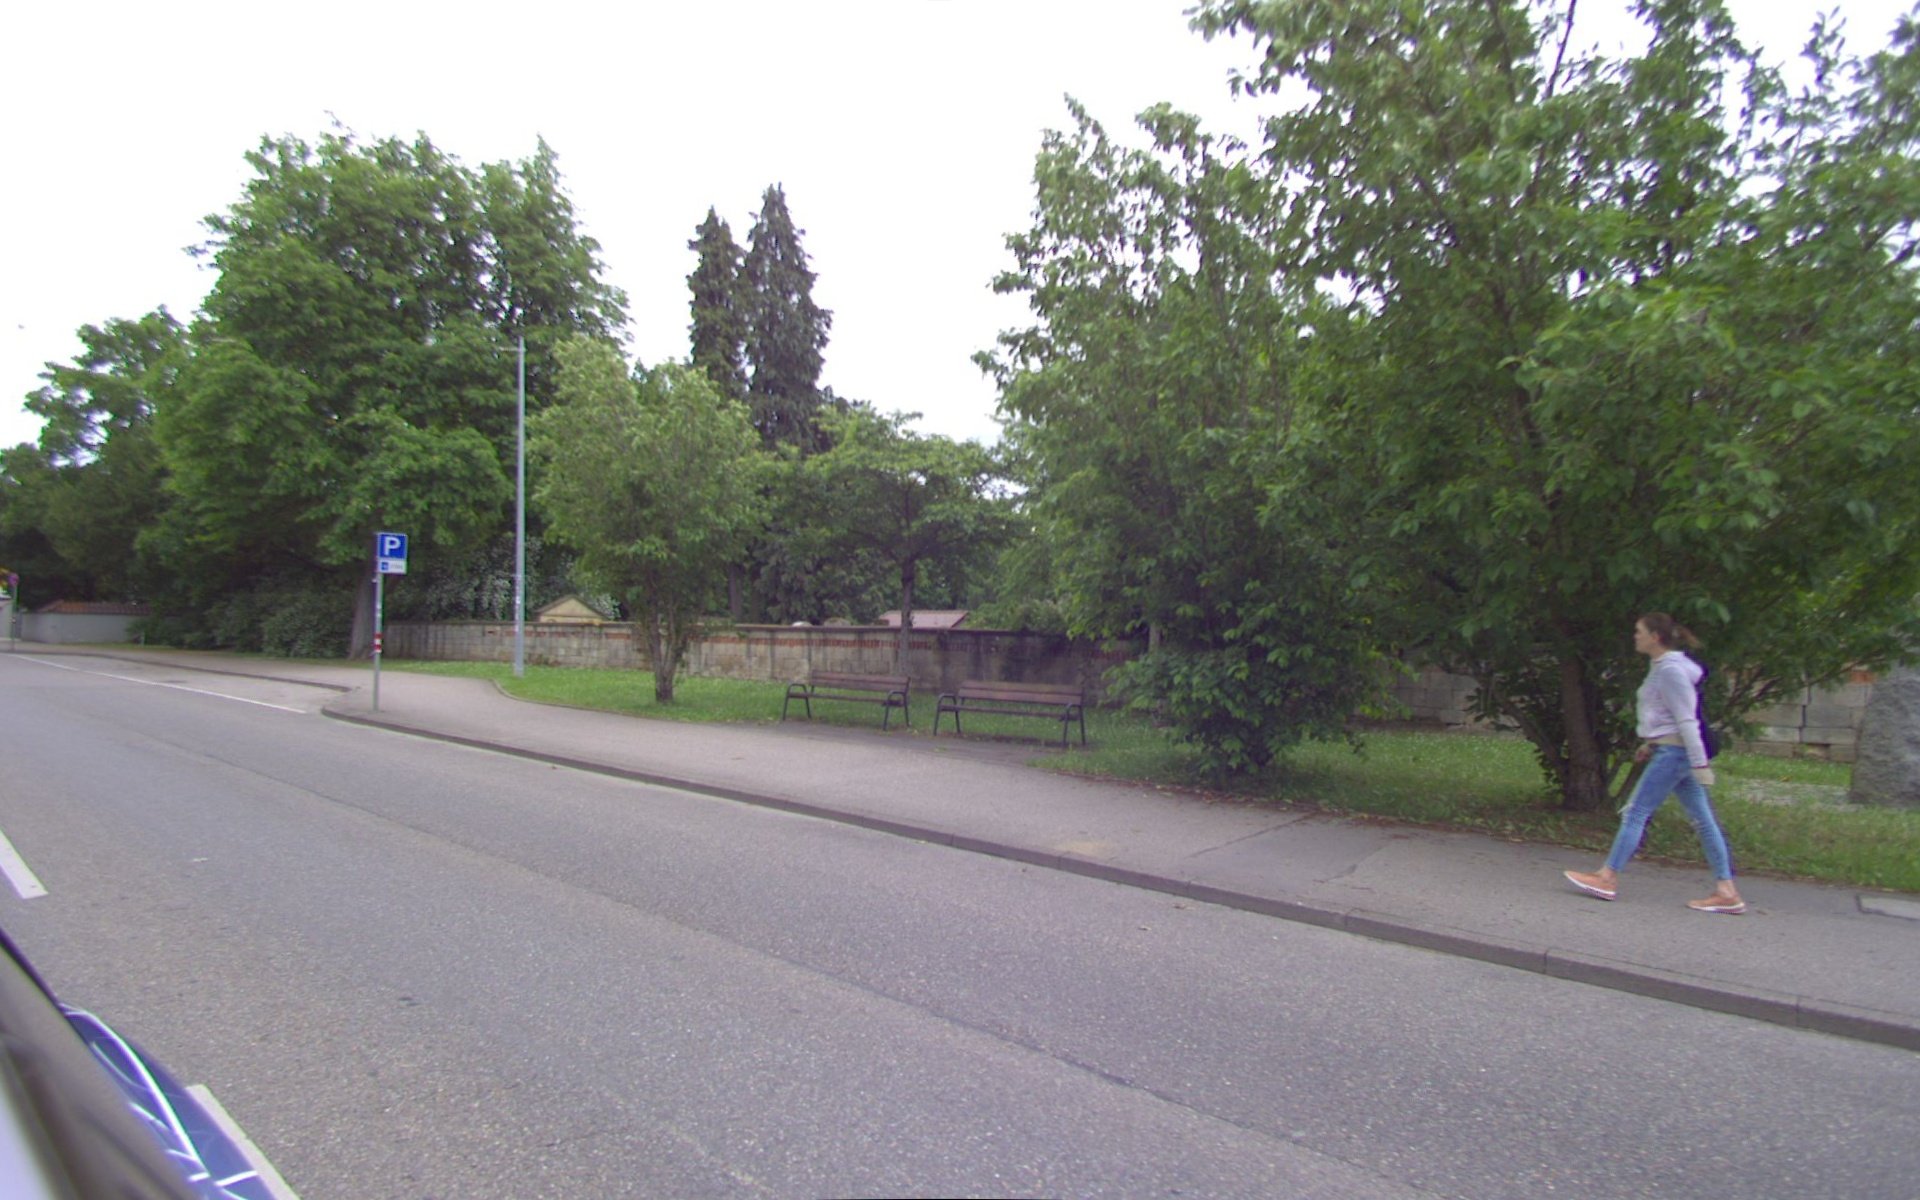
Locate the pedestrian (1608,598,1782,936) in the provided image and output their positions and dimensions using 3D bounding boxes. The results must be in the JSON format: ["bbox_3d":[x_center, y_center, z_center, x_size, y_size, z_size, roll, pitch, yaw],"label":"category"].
[{"bbox_3d":[4.313,0.899,5.942,0.784,1.825,0.607,0,0,41],"label":"pedestrian"}]
